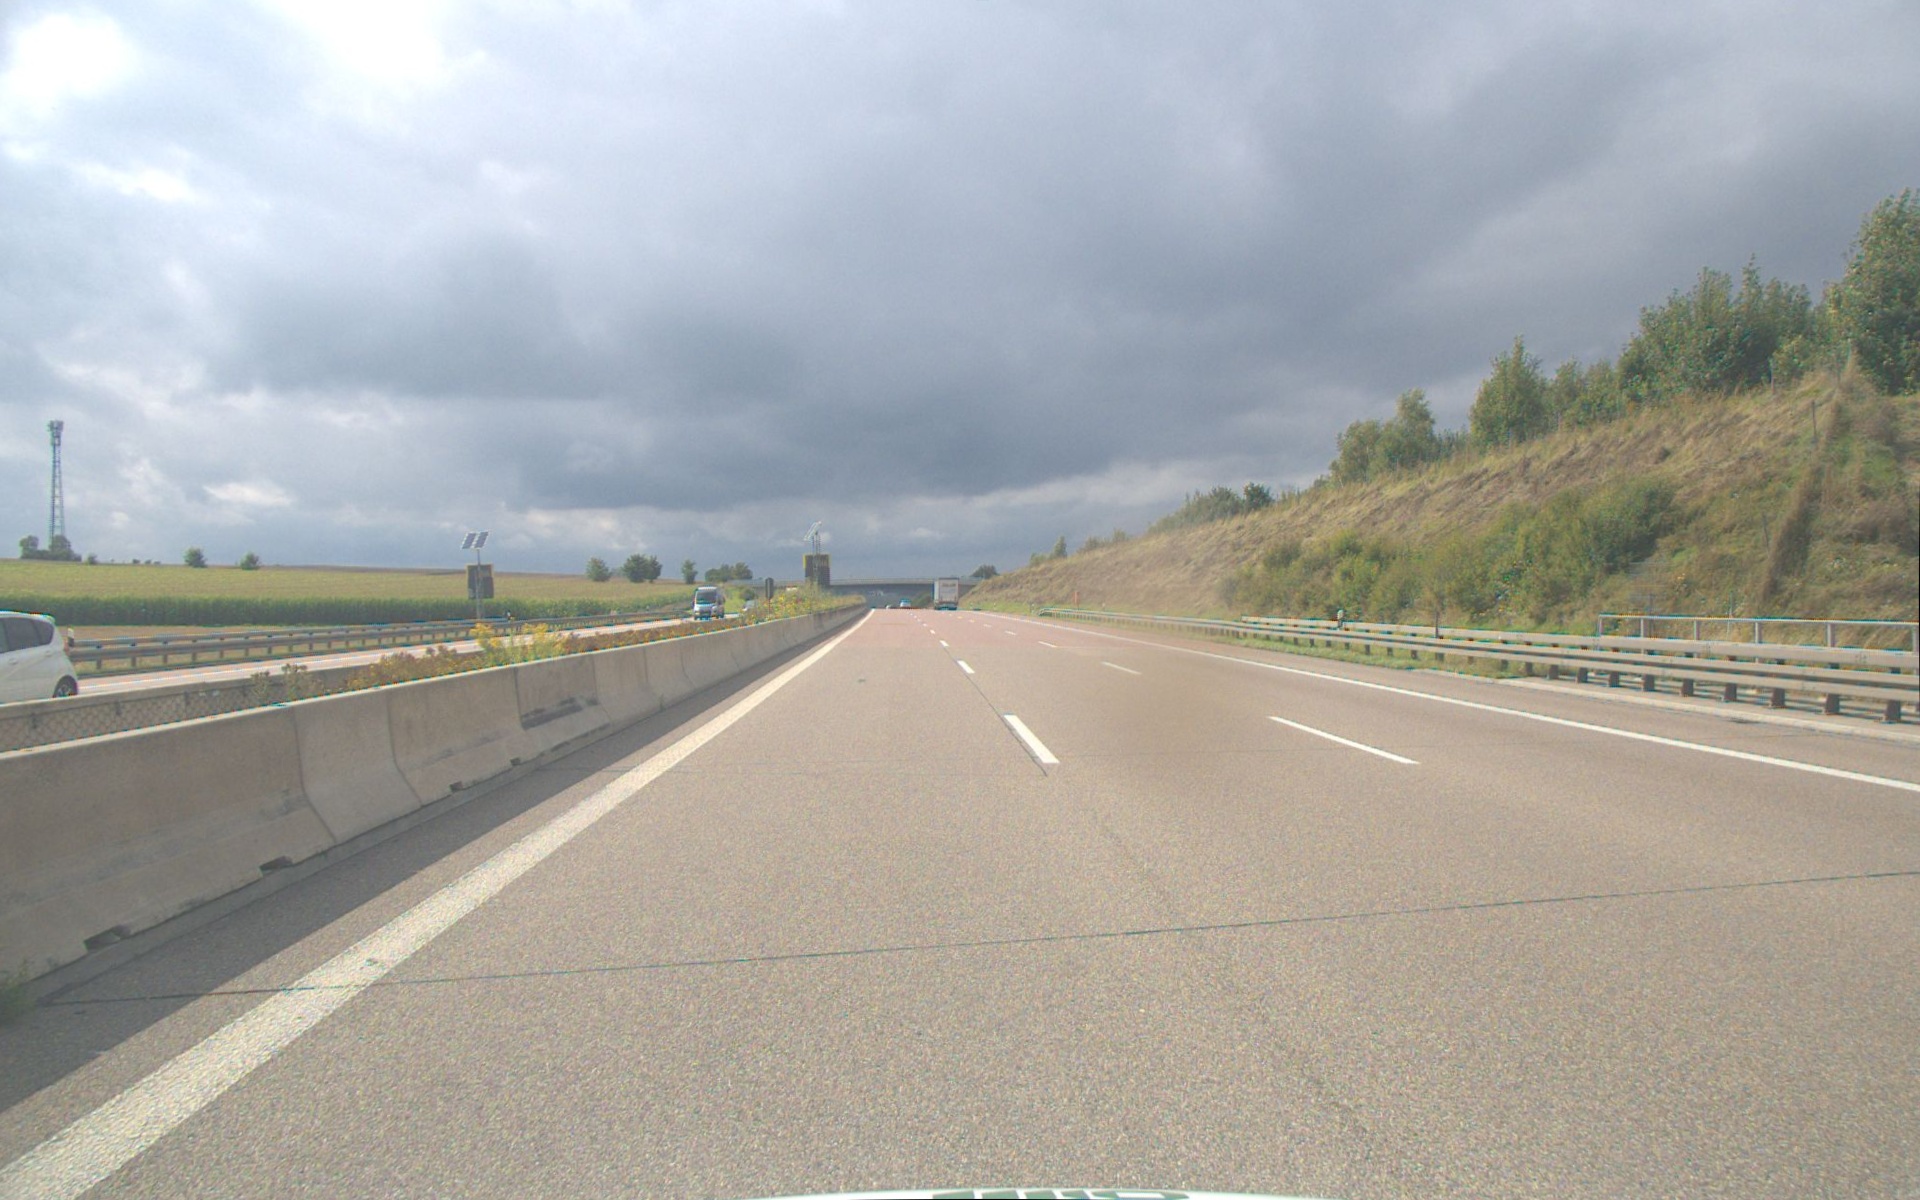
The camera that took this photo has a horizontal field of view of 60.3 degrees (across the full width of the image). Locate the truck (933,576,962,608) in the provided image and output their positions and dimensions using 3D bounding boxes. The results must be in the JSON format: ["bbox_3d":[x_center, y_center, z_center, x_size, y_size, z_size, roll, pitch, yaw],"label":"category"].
[{"bbox_3d":[-1.630,-1.035,215.617,3.544,4.014,11.171,1,1,-1],"label":"truck"}]

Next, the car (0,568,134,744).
[{"bbox_3d":[-12.466,0.685,20.614,1.953,2.106,4.711,-1,0,0],"label":"car"}]

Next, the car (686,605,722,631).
[{"bbox_3d":[-20.694,1.454,133.901,2.015,1.946,5.702,-1,0,-1],"label":"car"}]
